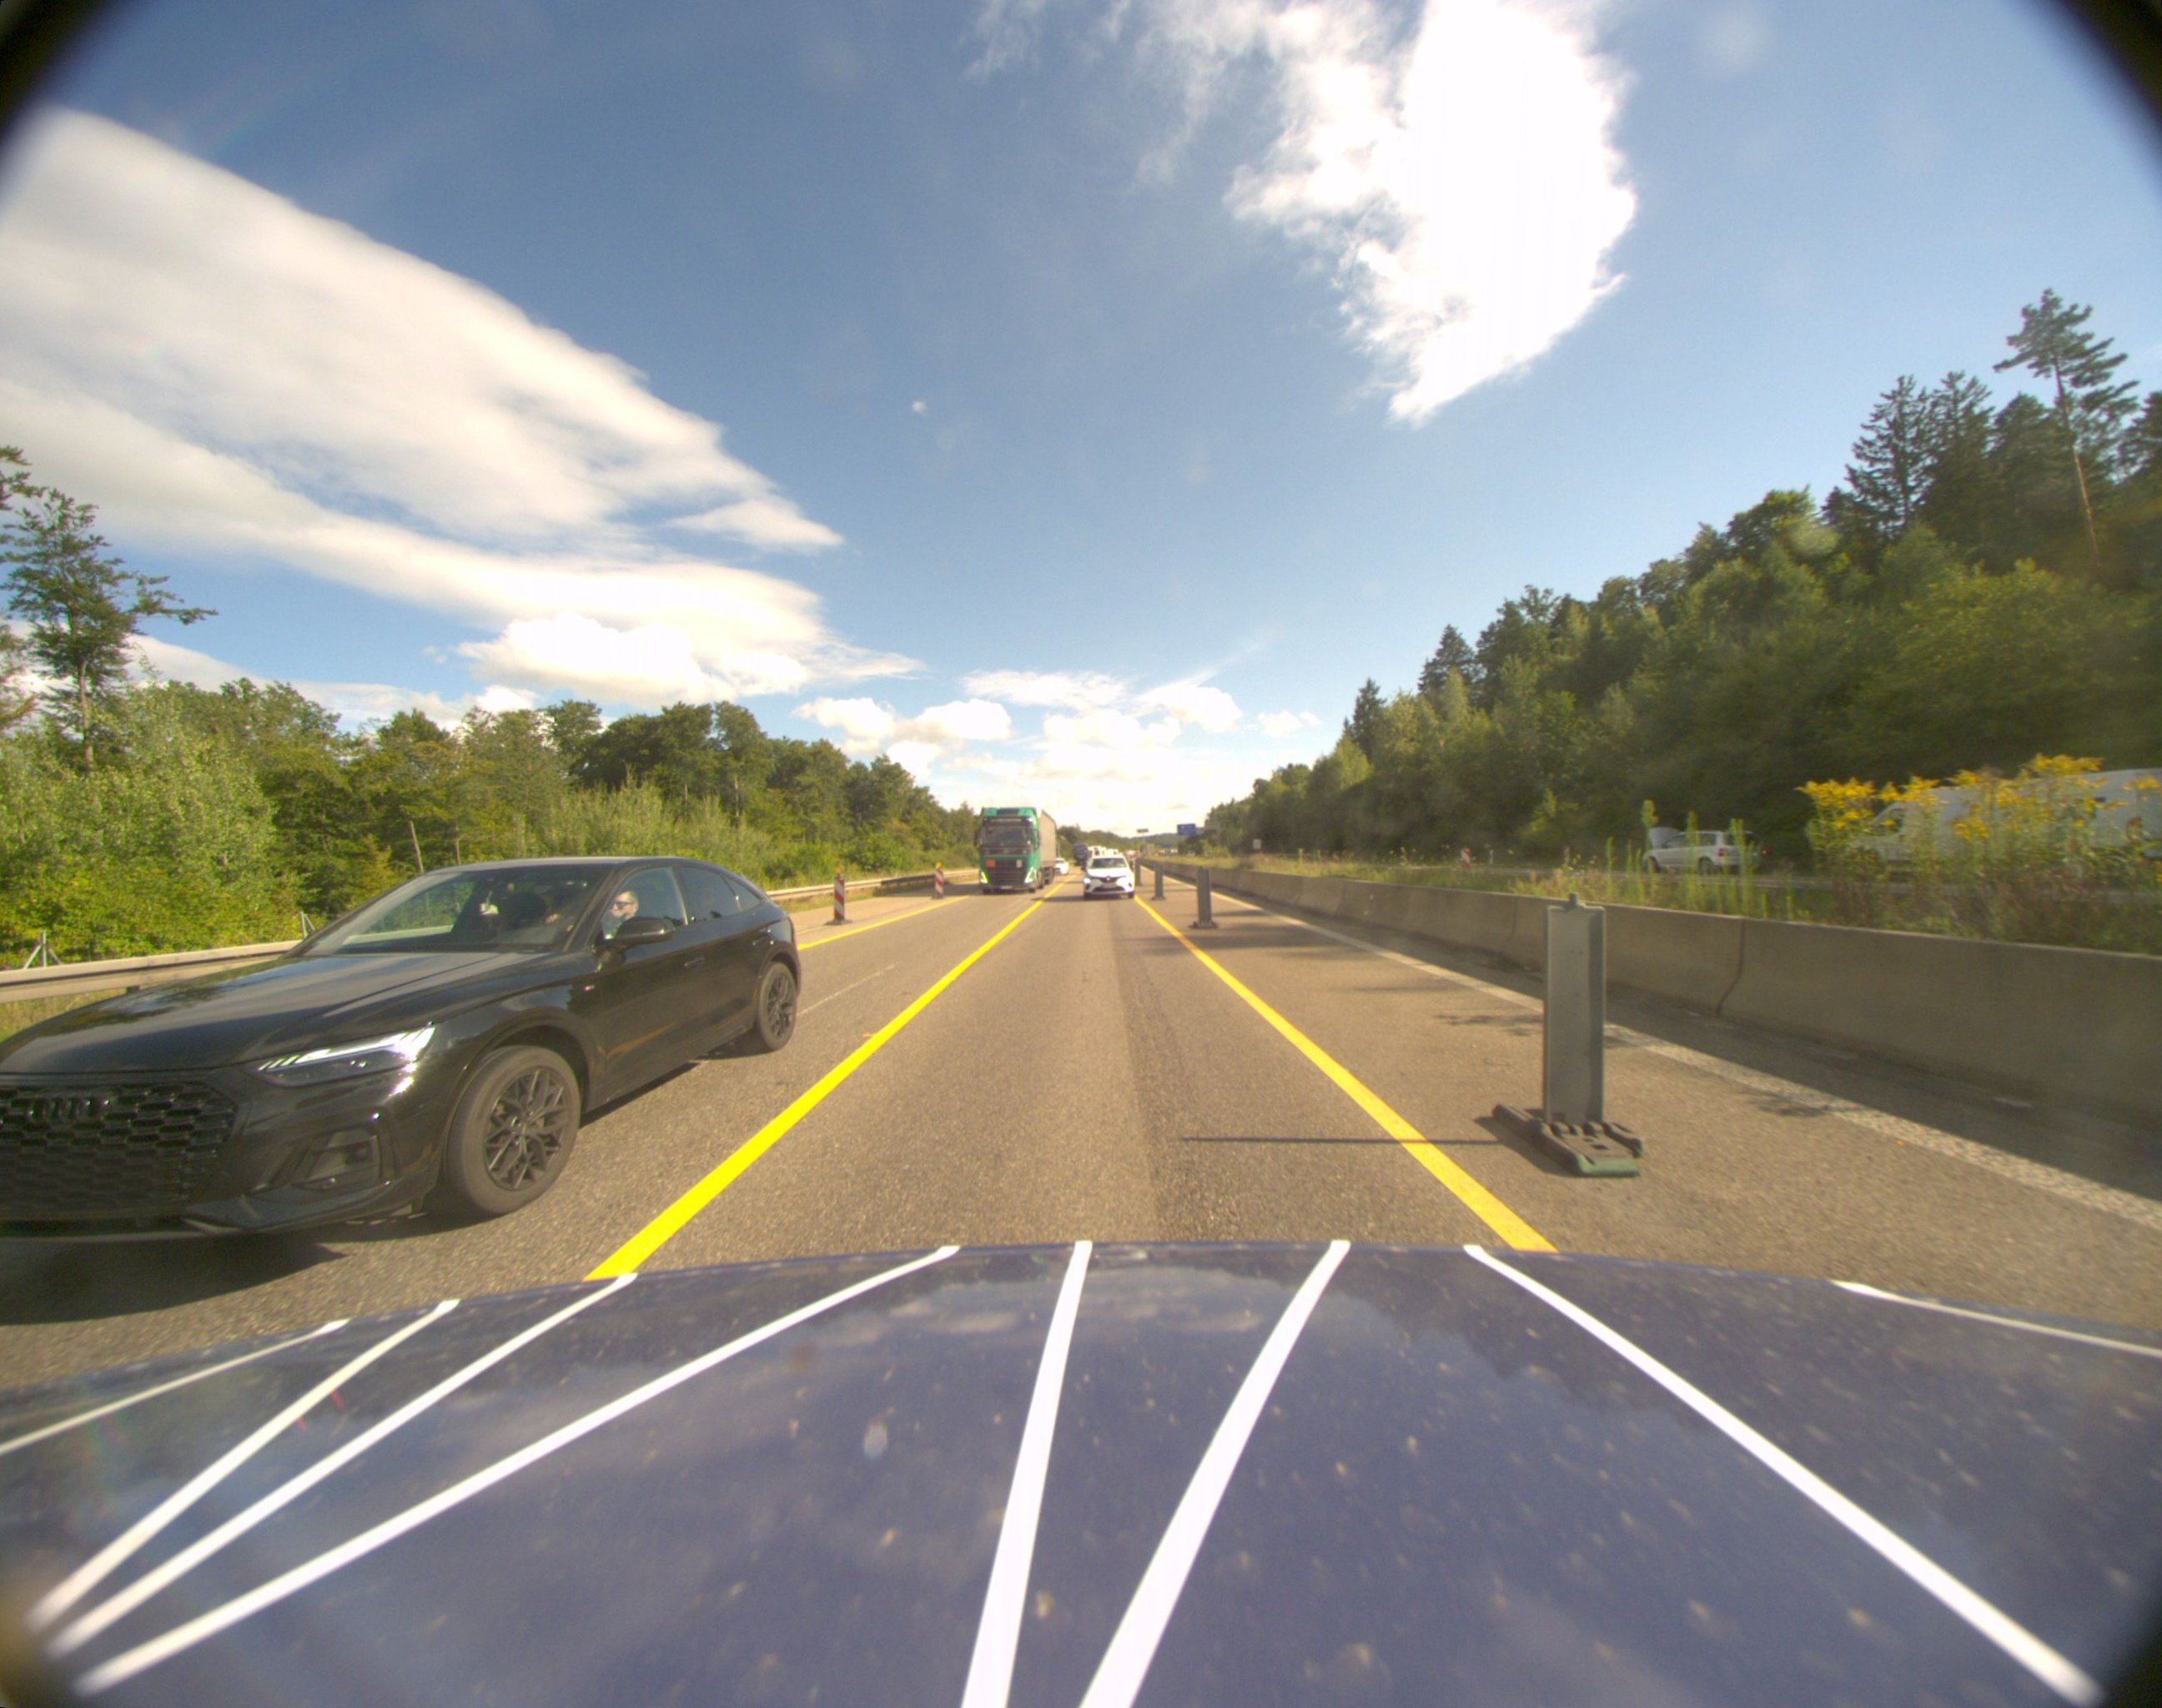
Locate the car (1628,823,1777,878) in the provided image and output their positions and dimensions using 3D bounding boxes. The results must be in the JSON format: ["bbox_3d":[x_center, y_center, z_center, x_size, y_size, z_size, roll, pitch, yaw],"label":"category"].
[{"bbox_3d":[23.407,-0.158,28.907,1.865,1.843,4.762,-2,1,2],"label":"car"}]

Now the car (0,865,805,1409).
[{"bbox_3d":[-3.377,0.950,4.551,1.782,1.593,4.293,-2,1,1],"label":"car"}]

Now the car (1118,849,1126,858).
[{"bbox_3d":[10.348,-0.156,191.809,1.998,2.002,4.001,-2,1,4],"label":"car"}]

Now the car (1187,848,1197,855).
[{"bbox_3d":[26.832,-0.622,183.175,1.782,1.775,4.365,-2,1,2],"label":"car"}]

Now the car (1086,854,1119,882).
[{"bbox_3d":[1.278,0.774,44.899,1.782,1.468,4.018,-2,1,2],"label":"car"}]

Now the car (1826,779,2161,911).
[{"bbox_3d":[22.511,-0.235,18.712,2.033,2.669,6.522,-2,1,2],"label":"car"}]

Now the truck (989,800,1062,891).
[{"bbox_3d":[-2.738,-0.363,42.173,2.470,4.119,14.212,-2,0,2],"label":"truck"}]

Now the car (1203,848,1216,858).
[{"bbox_3d":[24.185,-0.260,143.547,1.782,1.775,4.365,-2,1,2],"label":"car"}]

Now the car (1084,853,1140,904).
[{"bbox_3d":[1.082,0.826,27.246,1.782,1.593,4.018,-2,1,2],"label":"car"}]

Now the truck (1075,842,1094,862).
[{"bbox_3d":[0.706,-0.353,130.073,2.576,3.167,6.804,-2,1,5],"label":"truck"}]

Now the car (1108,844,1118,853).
[{"bbox_3d":[6.961,-1.173,165.074,1.998,2.002,4.000,-2,1,2],"label":"car"}]

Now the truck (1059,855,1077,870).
[{"bbox_3d":[-1.124,0.737,65.861,1.468,1.215,3.087,-2,1,-1],"label":"truck"}]

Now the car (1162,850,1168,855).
[{"bbox_3d":[28.400,-0.419,257.203,1.782,1.448,4.104,-2,1,2],"label":"car"}]

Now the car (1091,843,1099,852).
[{"bbox_3d":[2.959,-1.359,161.218,1.750,1.787,4.000,-2,1,1],"label":"car"}]

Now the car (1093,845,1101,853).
[{"bbox_3d":[3.654,-1.173,172.393,1.750,1.787,4.000,-2,1,1],"label":"car"}]

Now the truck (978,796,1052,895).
[{"bbox_3d":[-2.926,-0.393,35.776,2.528,4.075,6.856,-2,1,2],"label":"truck"}]
